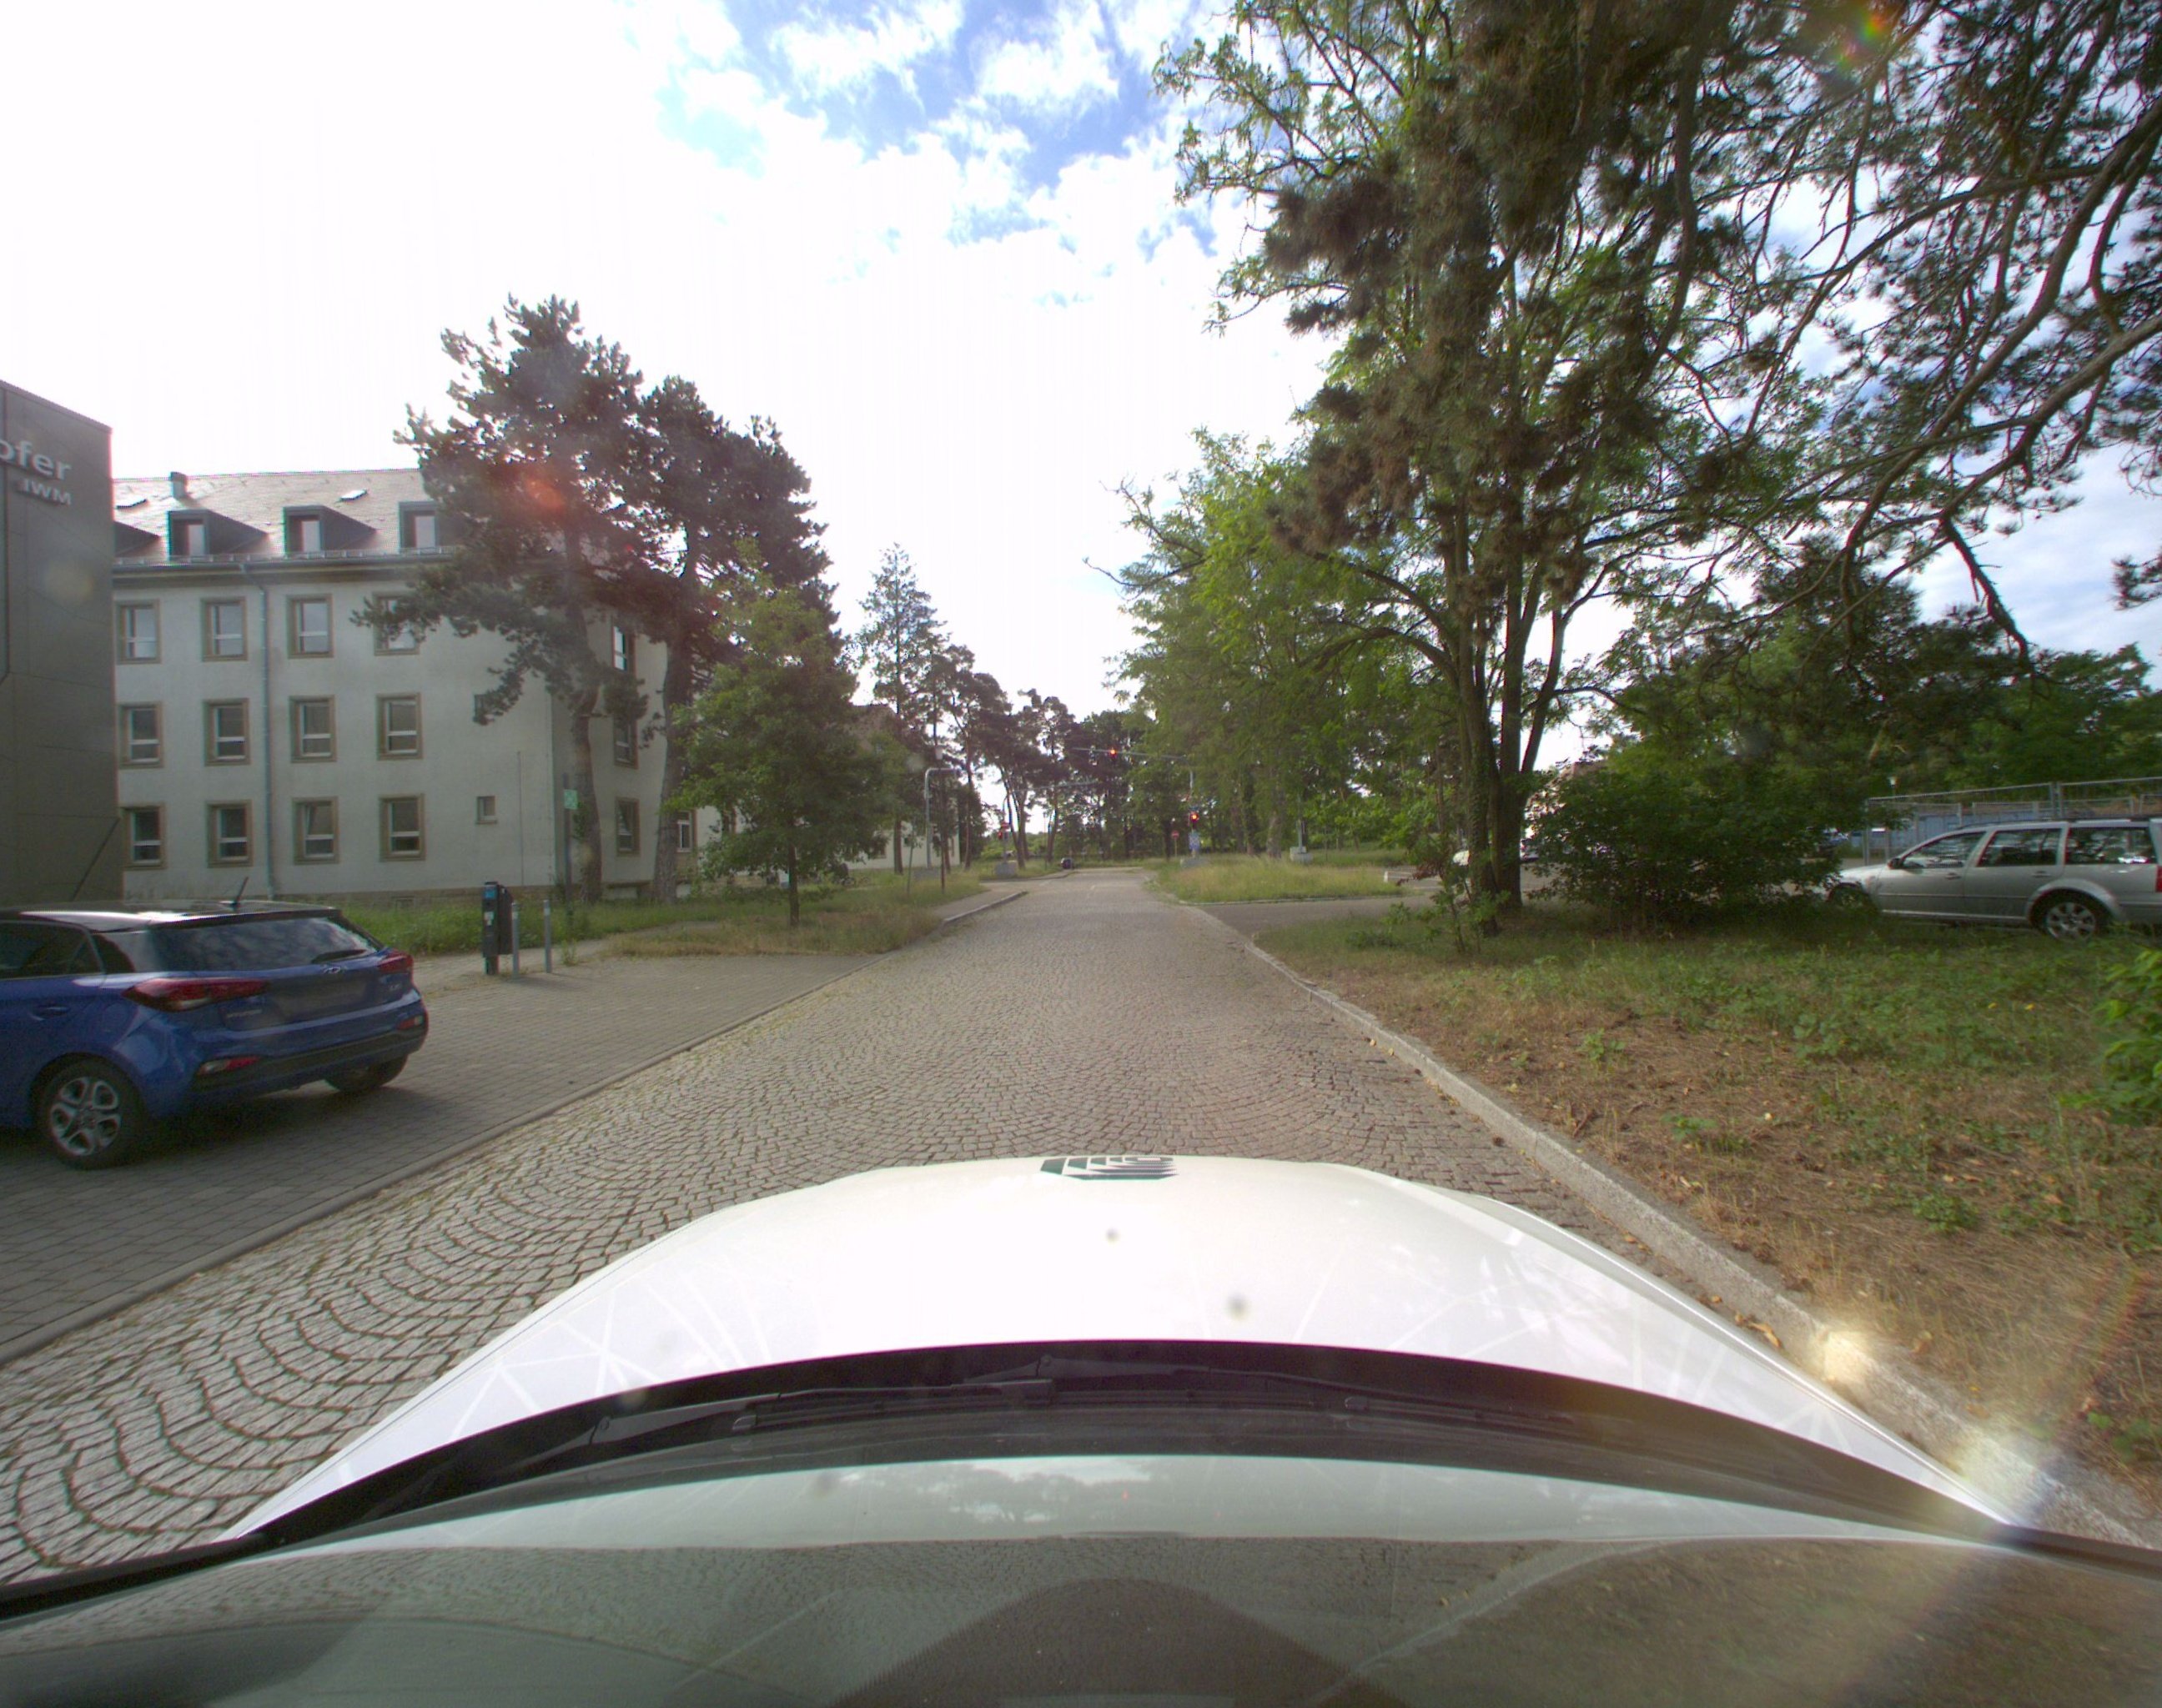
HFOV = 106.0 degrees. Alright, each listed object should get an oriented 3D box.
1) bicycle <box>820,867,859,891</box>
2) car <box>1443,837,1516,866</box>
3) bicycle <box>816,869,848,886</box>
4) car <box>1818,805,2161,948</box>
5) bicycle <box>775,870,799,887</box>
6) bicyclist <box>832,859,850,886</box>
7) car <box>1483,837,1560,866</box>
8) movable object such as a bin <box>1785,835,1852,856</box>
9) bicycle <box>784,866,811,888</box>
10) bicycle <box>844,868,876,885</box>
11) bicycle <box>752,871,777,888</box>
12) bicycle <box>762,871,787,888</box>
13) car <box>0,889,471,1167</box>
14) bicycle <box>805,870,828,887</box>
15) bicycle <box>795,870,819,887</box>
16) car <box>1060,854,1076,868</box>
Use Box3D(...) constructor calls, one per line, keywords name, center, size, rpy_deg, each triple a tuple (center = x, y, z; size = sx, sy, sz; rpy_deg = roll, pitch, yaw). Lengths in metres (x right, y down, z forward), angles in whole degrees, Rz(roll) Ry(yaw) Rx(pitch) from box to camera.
Box3D(name="bicycle", center=(-15.194, 1.569, 51.359), size=(2.177, 1.387, 0.936), rpy_deg=(-2, 0, -8))
Box3D(name="car", center=(23.091, -0.103, 47.379), size=(1.988, 1.481, 4.422), rpy_deg=(-2, -2, -2))
Box3D(name="bicycle", center=(-16.661, 1.575, 54.472), size=(1.848, 1.076, 0.739), rpy_deg=(-2, 0, 3))
Box3D(name="car", center=(11.614, 0.240, 9.926), size=(1.640, 1.427, 4.073), rpy_deg=(1, 0, 1))
Box3D(name="bicycle", center=(-20.267, 1.708, 56.193), size=(0.733, 1.076, 2.274), rpy_deg=(-2, 0, 2))
Box3D(name="bicyclist", center=(-15.125, 1.155, 51.387), size=(0.920, 1.697, 0.954), rpy_deg=(-2, -1, -8))
Box3D(name="car", center=(25.606, -0.129, 47.500), size=(1.988, 1.481, 4.422), rpy_deg=(-2, -2, -2))
Box3D(name="movable object such as a bin", center=(31.484, -0.343, 34.819), size=(1.179, 0.825, 1.957), rpy_deg=(-2, 0, 6))
Box3D(name="bicycle", center=(-19.477, 1.548, 56.066), size=(0.733, 1.385, 2.713), rpy_deg=(-2, 0, 2))
Box3D(name="bicycle", center=(-14.778, 1.519, 54.466), size=(1.848, 1.076, 0.832), rpy_deg=(-2, 0, 3))
Box3D(name="bicycle", center=(-21.657, 1.726, 55.804), size=(0.733, 1.076, 2.274), rpy_deg=(-2, 0, 2))
Box3D(name="bicycle", center=(-20.929, 1.703, 55.715), size=(0.733, 1.076, 2.274), rpy_deg=(-2, 0, 2))
Box3D(name="car", center=(-6.763, 1.034, 5.621), size=(3.748, 1.478, 1.854), rpy_deg=(-1, 0, 4))
Box3D(name="bicycle", center=(-18.100, 1.640, 55.757), size=(0.733, 1.076, 2.274), rpy_deg=(-2, 0, 2))
Box3D(name="bicycle", center=(-18.742, 1.669, 55.692), size=(0.733, 1.076, 2.274), rpy_deg=(-2, 0, 2))
Box3D(name="car", center=(-1.785, 0.956, 111.536), size=(2.048, 1.846, 4.001), rpy_deg=(-2, 0, 1))
